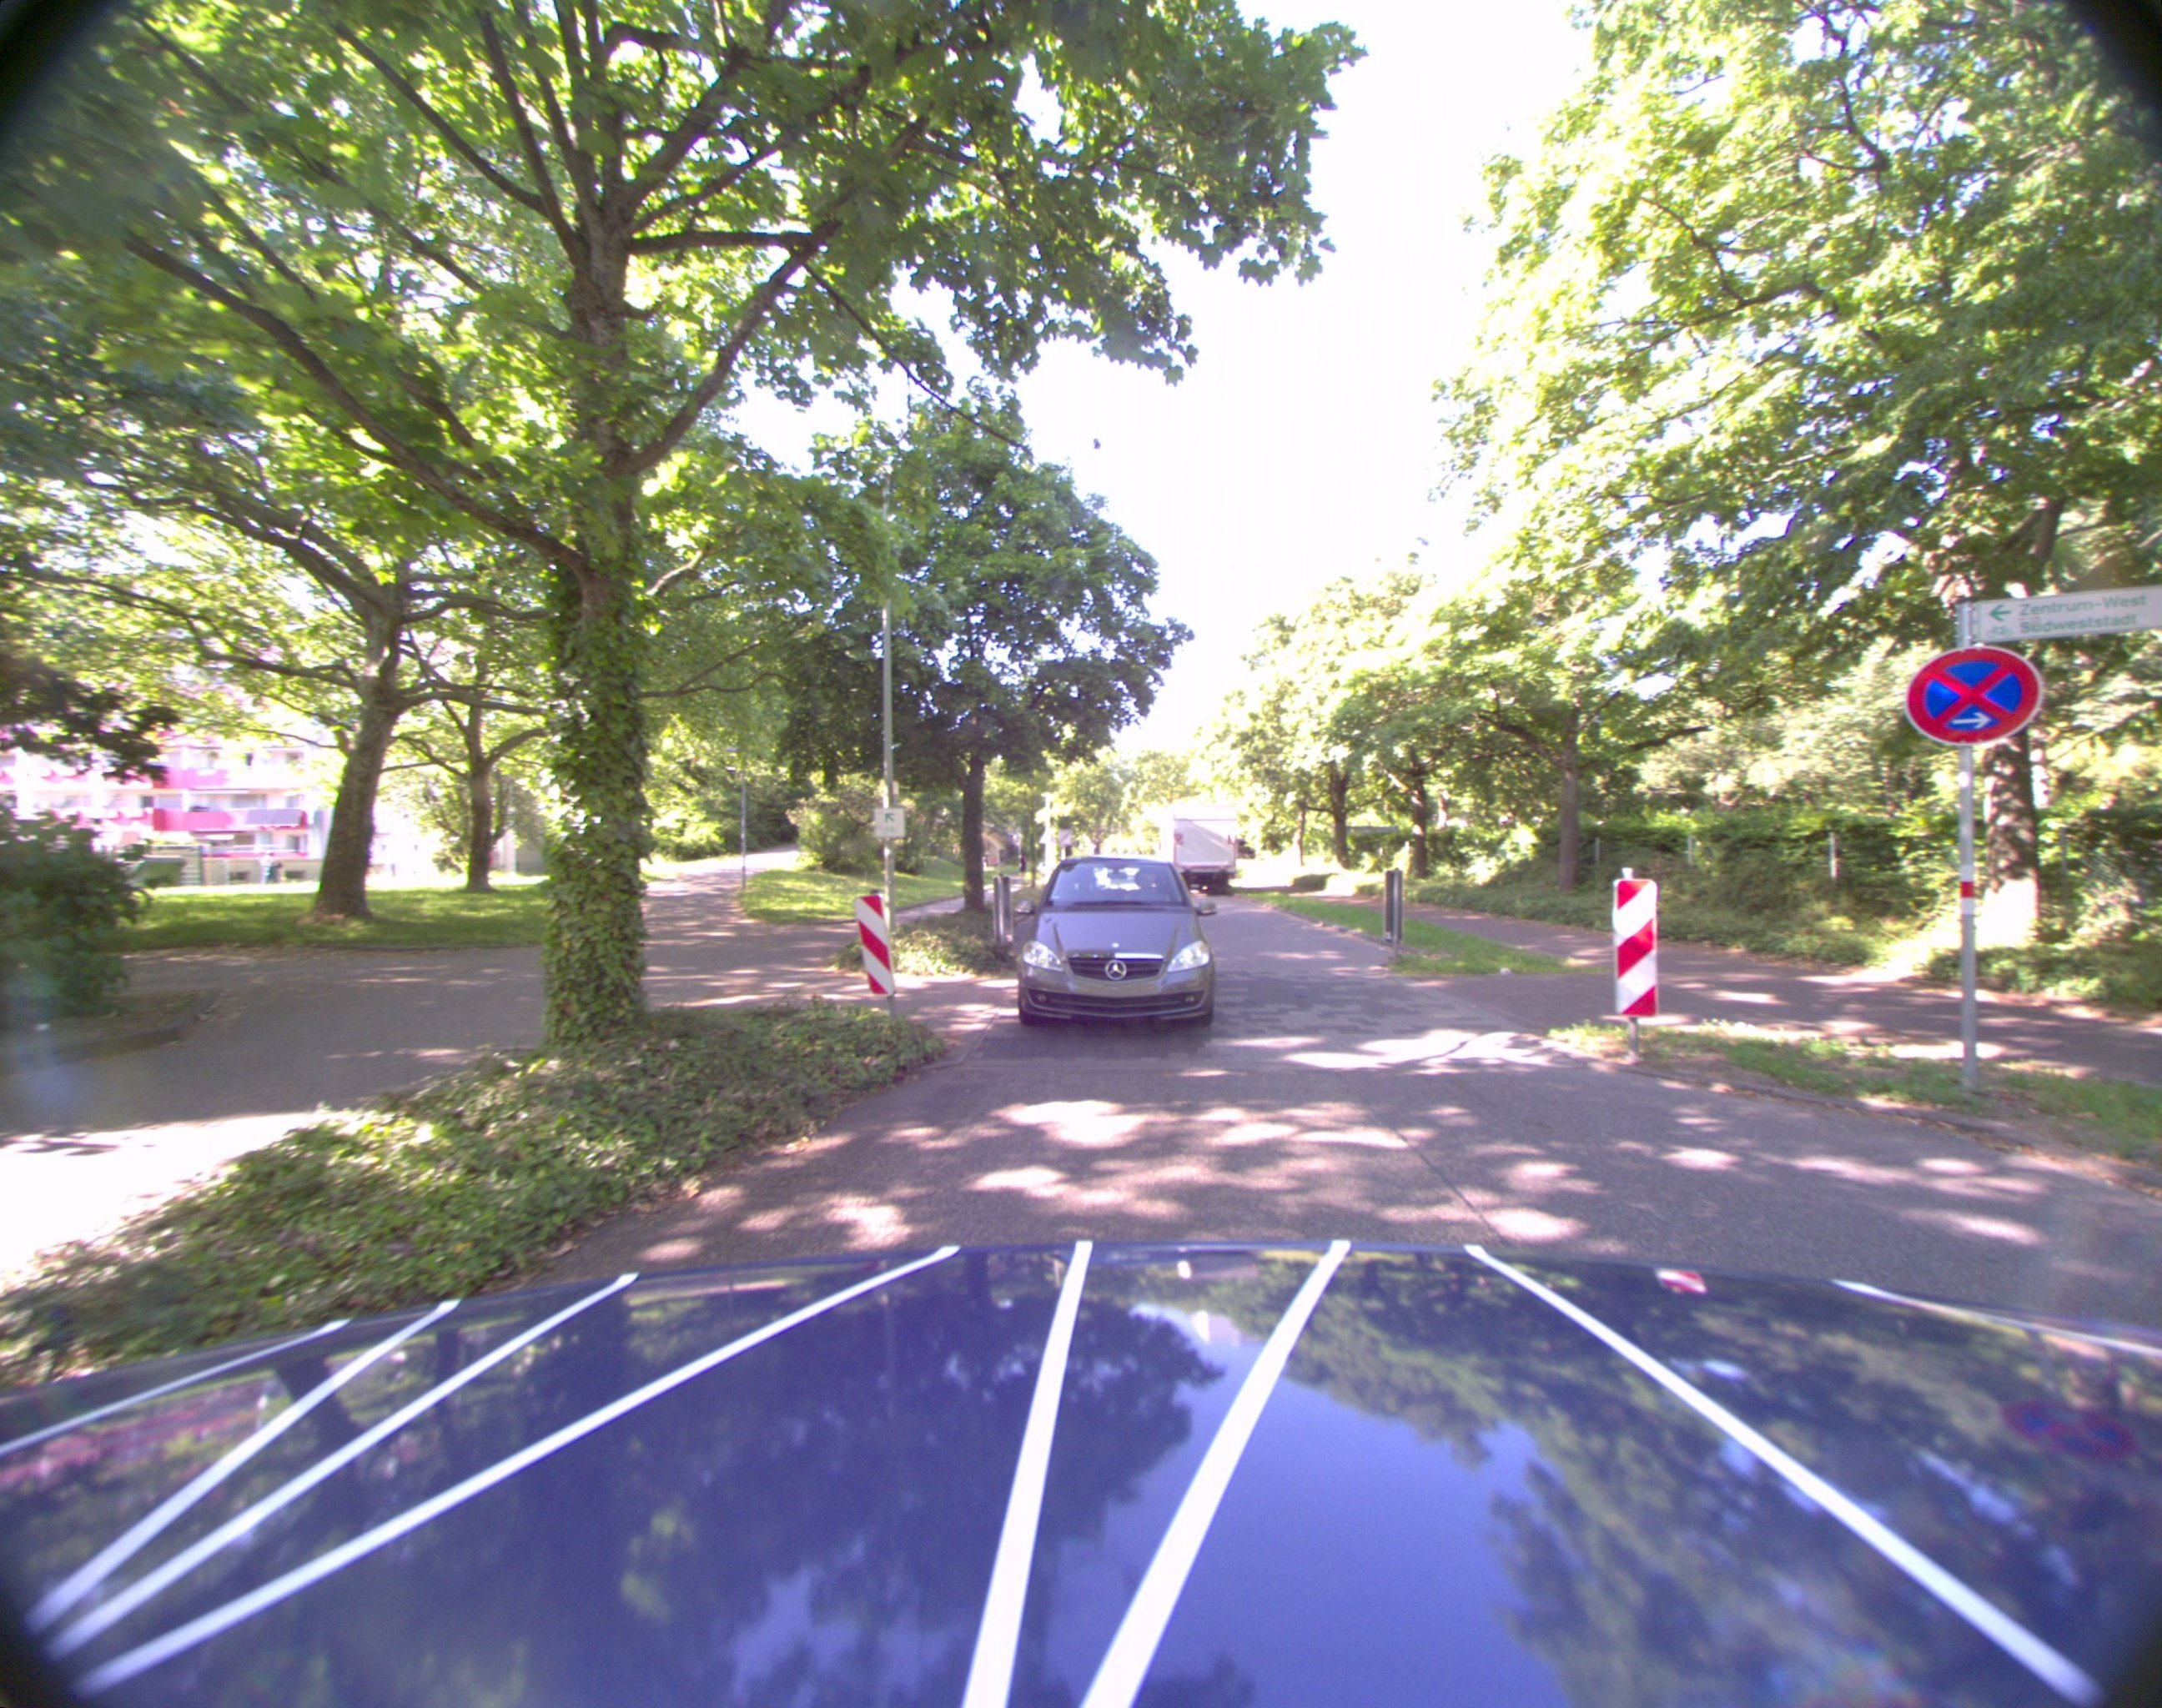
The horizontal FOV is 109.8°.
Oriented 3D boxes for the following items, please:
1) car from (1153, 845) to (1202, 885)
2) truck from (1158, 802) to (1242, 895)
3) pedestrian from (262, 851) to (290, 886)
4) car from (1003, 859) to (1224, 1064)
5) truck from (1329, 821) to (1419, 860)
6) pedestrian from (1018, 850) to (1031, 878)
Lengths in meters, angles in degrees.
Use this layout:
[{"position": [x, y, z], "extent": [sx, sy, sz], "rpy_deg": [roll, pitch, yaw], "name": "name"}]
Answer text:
[{"position": [5.495, 0.579, 44.002], "extent": [2.124, 2.083, 6.584], "rpy_deg": [-1, 0, 1], "name": "car"}, {"position": [5.128, -0.229, 34.166], "extent": [2.741, 3.620, 8.101], "rpy_deg": [-1, 0, 2], "name": "truck"}, {"position": [-37.789, 0.689, 35.684], "extent": [0.627, 1.579, 0.679], "rpy_deg": [-3, 1, -27], "name": "pedestrian"}, {"position": [0.281, 0.876, 8.074], "extent": [1.734, 1.578, 4.000], "rpy_deg": [-1, 0, 1], "name": "car"}, {"position": [15.781, -0.692, 41.085], "extent": [3.997, 2.002, 2.204], "rpy_deg": [1, 0, 0], "name": "truck"}, {"position": [-3.722, 0.663, 50.202], "extent": [0.792, 1.821, 0.671], "rpy_deg": [-1, 1, 3], "name": "pedestrian"}]
